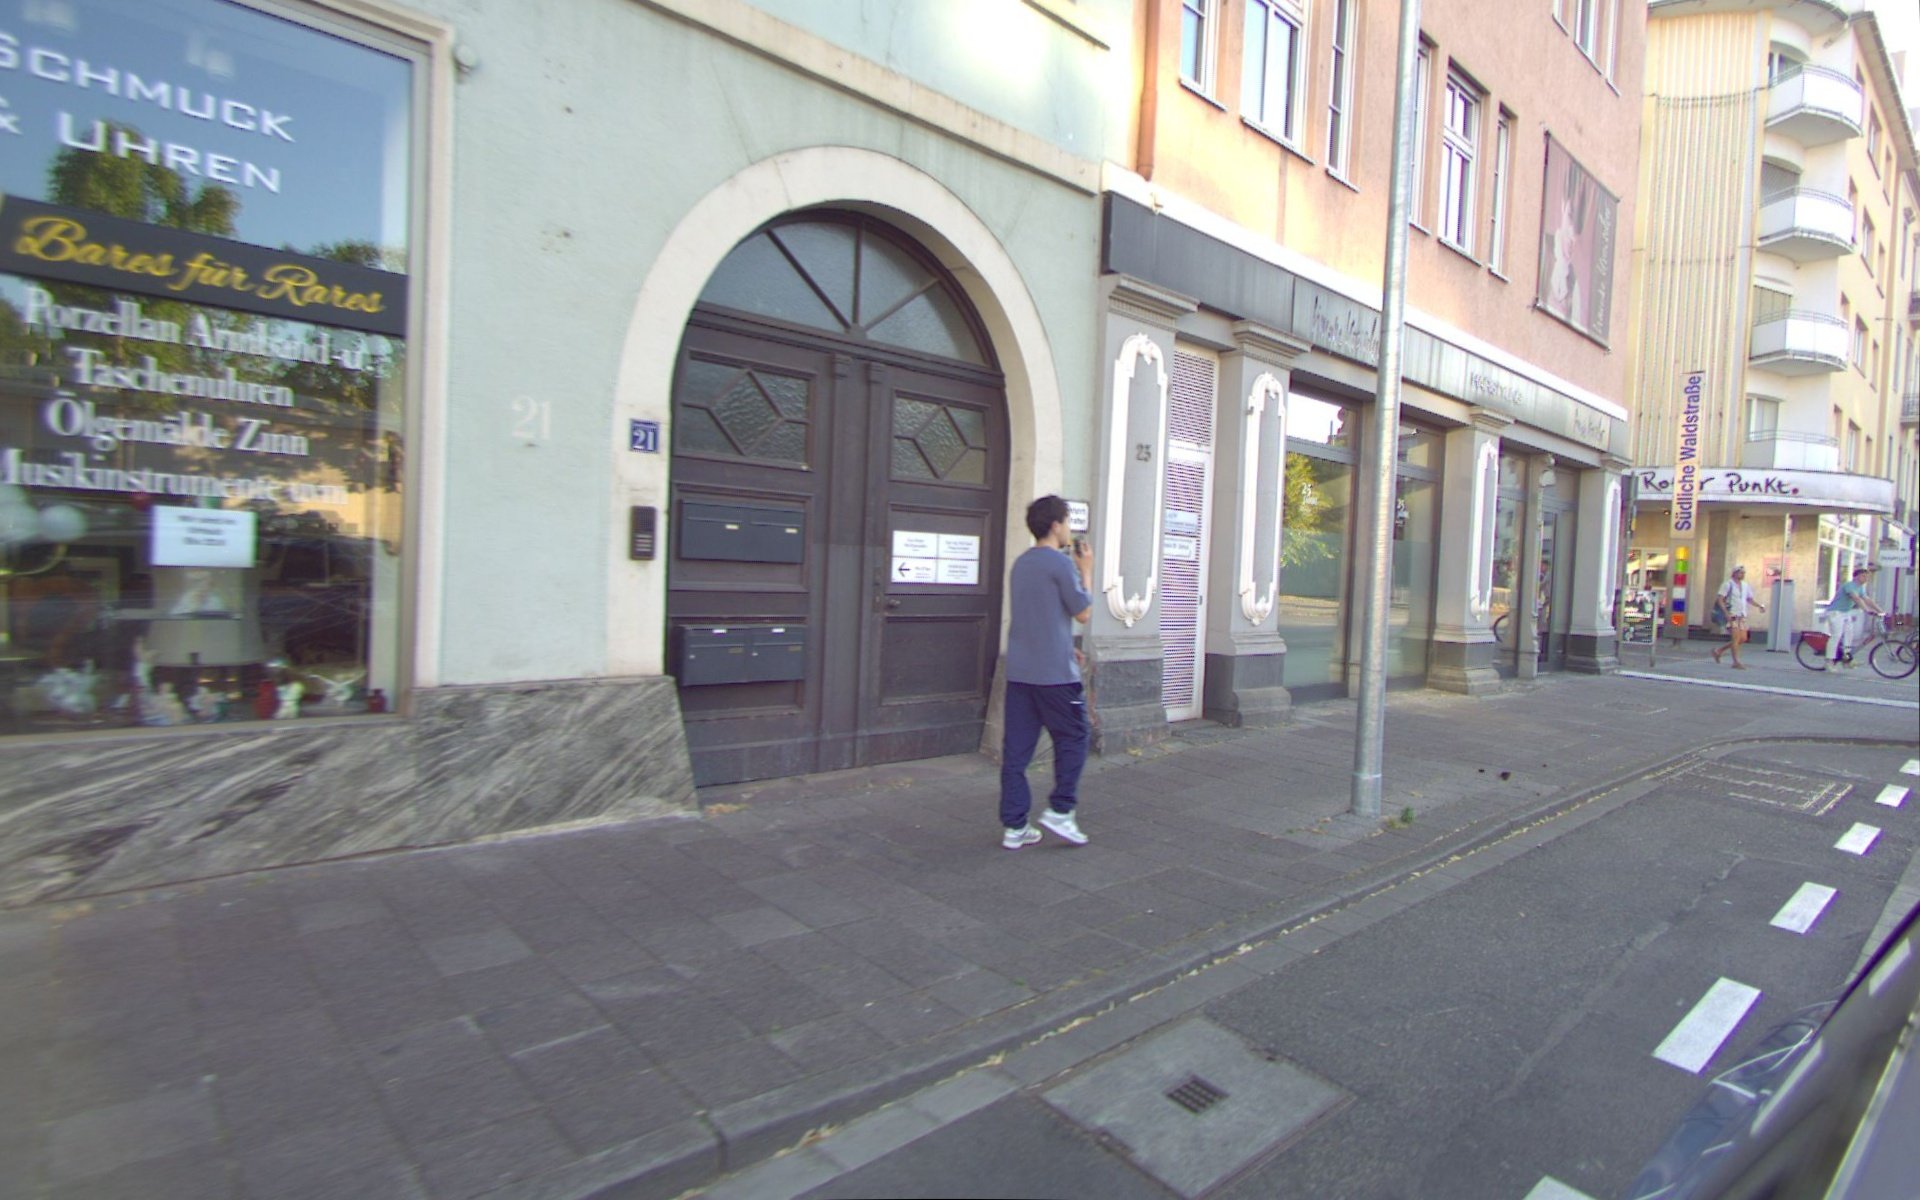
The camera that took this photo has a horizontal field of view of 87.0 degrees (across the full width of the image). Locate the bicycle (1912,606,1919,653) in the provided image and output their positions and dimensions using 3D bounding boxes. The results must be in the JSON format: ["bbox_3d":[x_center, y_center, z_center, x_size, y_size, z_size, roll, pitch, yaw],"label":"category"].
[{"bbox_3d":[23.598,0.778,23.428,2.169,1.088,0.794,6,3,42],"label":"bicycle"}]

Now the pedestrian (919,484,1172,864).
[{"bbox_3d":[0.419,0.302,5.006,0.857,1.662,0.824,1,3,-44],"label":"pedestrian"}]

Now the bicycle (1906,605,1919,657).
[{"bbox_3d":[21.207,0.727,21.283,1.779,1.076,0.709,6,3,38],"label":"bicycle"}]

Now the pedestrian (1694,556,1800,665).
[{"bbox_3d":[13.668,0.162,17.612,0.809,1.796,1.103,2,2,-8],"label":"pedestrian"}]

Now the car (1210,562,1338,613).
[{"bbox_3d":[11.042,-0.484,35.931,1.904,1.604,4.453,2,2,-21],"label":"car"}]

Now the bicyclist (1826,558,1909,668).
[{"bbox_3d":[15.883,0.213,17.717,0.815,1.848,0.837,1,2,-34],"label":"bicyclist"}]

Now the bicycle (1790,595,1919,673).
[{"bbox_3d":[15.828,0.564,17.707,0.778,1.200,1.828,1,3,-32],"label":"bicycle"}]

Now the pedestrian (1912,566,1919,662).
[{"bbox_3d":[18.815,0.286,19.255,0.821,1.839,0.860,4,2,36],"label":"pedestrian"}]

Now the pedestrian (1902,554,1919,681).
[{"bbox_3d":[15.066,0.290,15.279,0.932,1.920,0.818,3,2,27],"label":"pedestrian"}]
